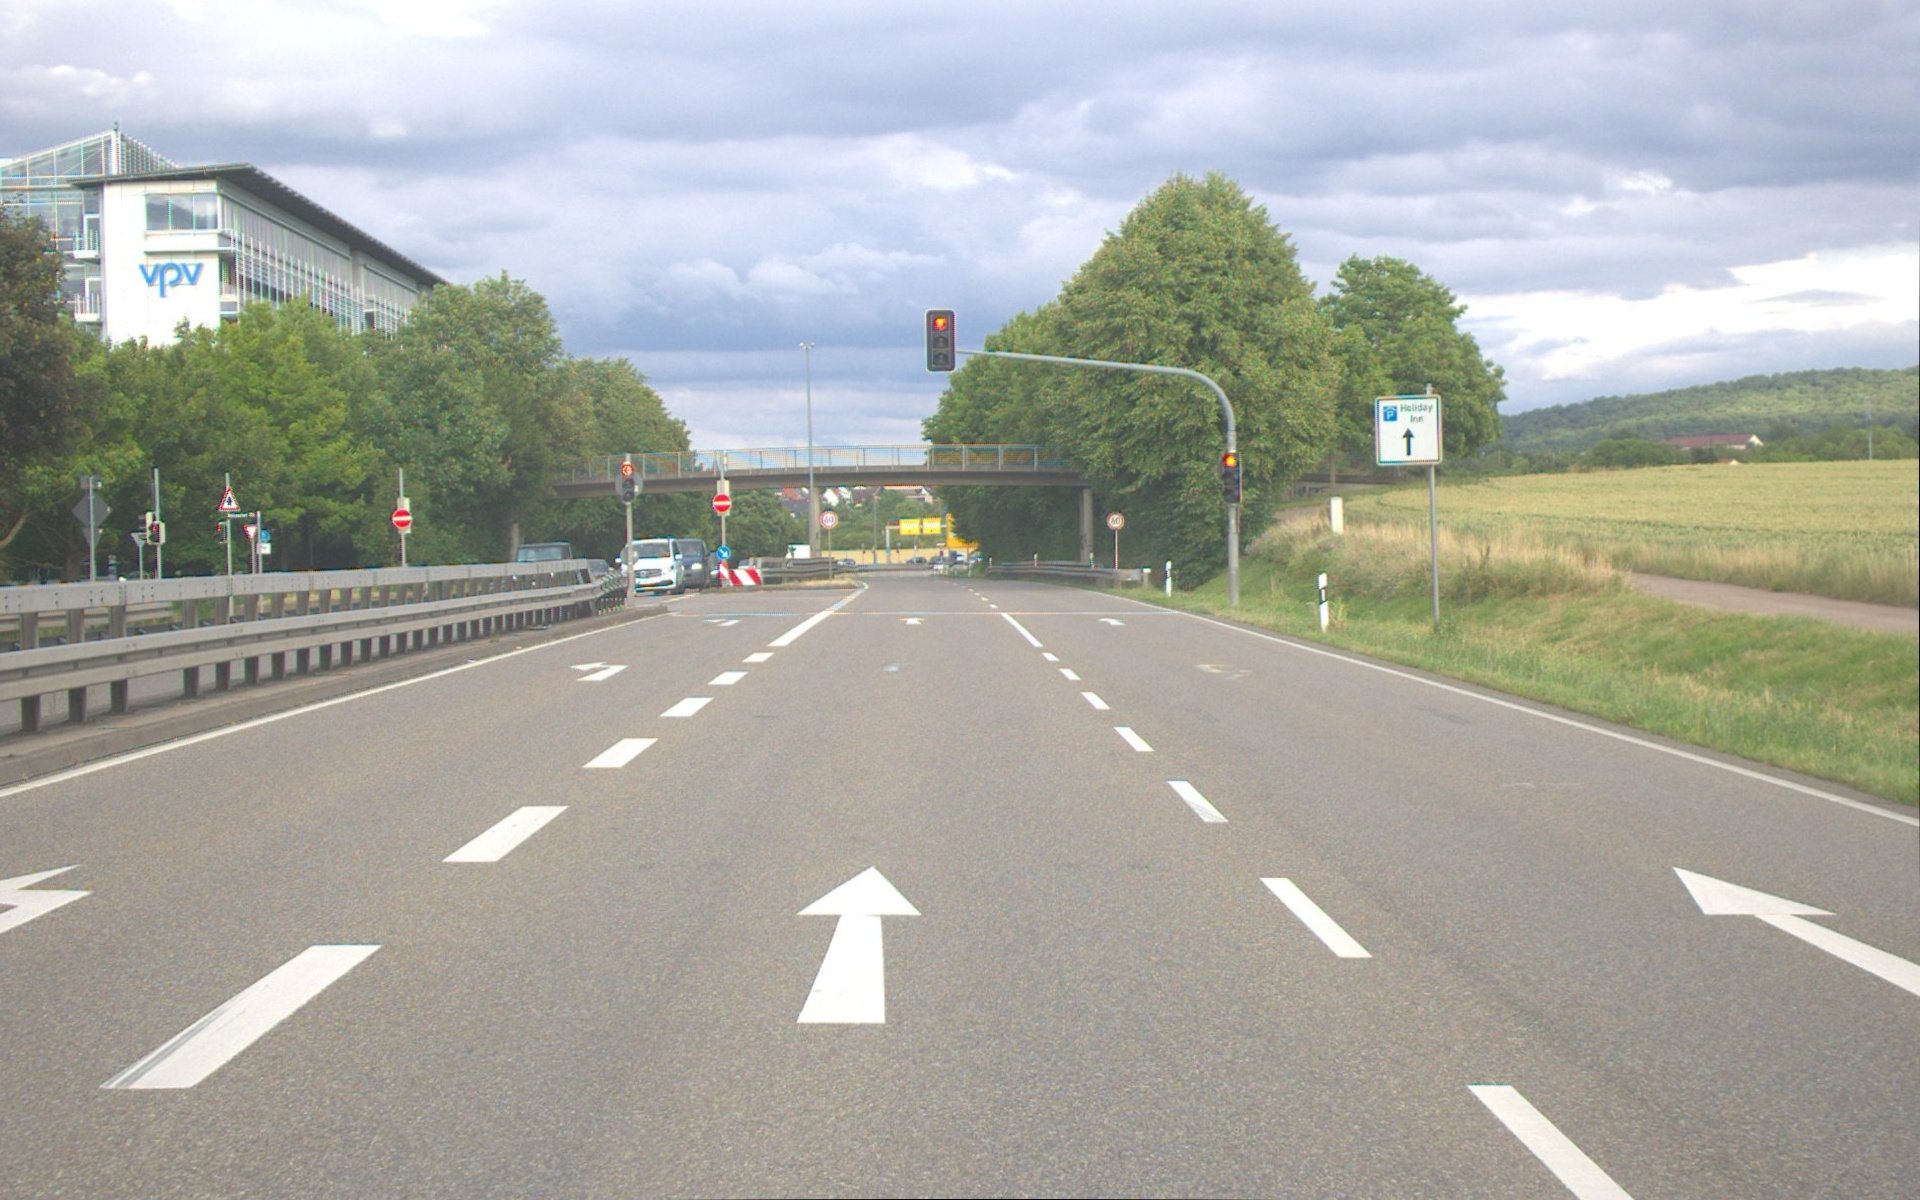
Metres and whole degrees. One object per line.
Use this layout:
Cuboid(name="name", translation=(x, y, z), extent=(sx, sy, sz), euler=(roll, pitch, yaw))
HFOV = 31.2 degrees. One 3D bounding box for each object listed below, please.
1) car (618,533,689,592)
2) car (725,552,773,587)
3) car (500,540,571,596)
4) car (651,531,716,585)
Cuboid(name="car", translation=(-10.162, -1.264, 114.307), extent=(1.948, 1.867, 4.737), euler=(-1, 1, 0))
Cuboid(name="car", translation=(-6.877, -1.013, 112.336), extent=(1.358, 1.088, 2.922), euler=(-1, 1, 0))
Cuboid(name="car", translation=(-14.072, -1.081, 114.130), extent=(1.868, 1.748, 4.049), euler=(-1, 1, 0))
Cuboid(name="car", translation=(-9.981, -1.527, 124.297), extent=(1.993, 1.867, 4.737), euler=(-1, 1, 0))
